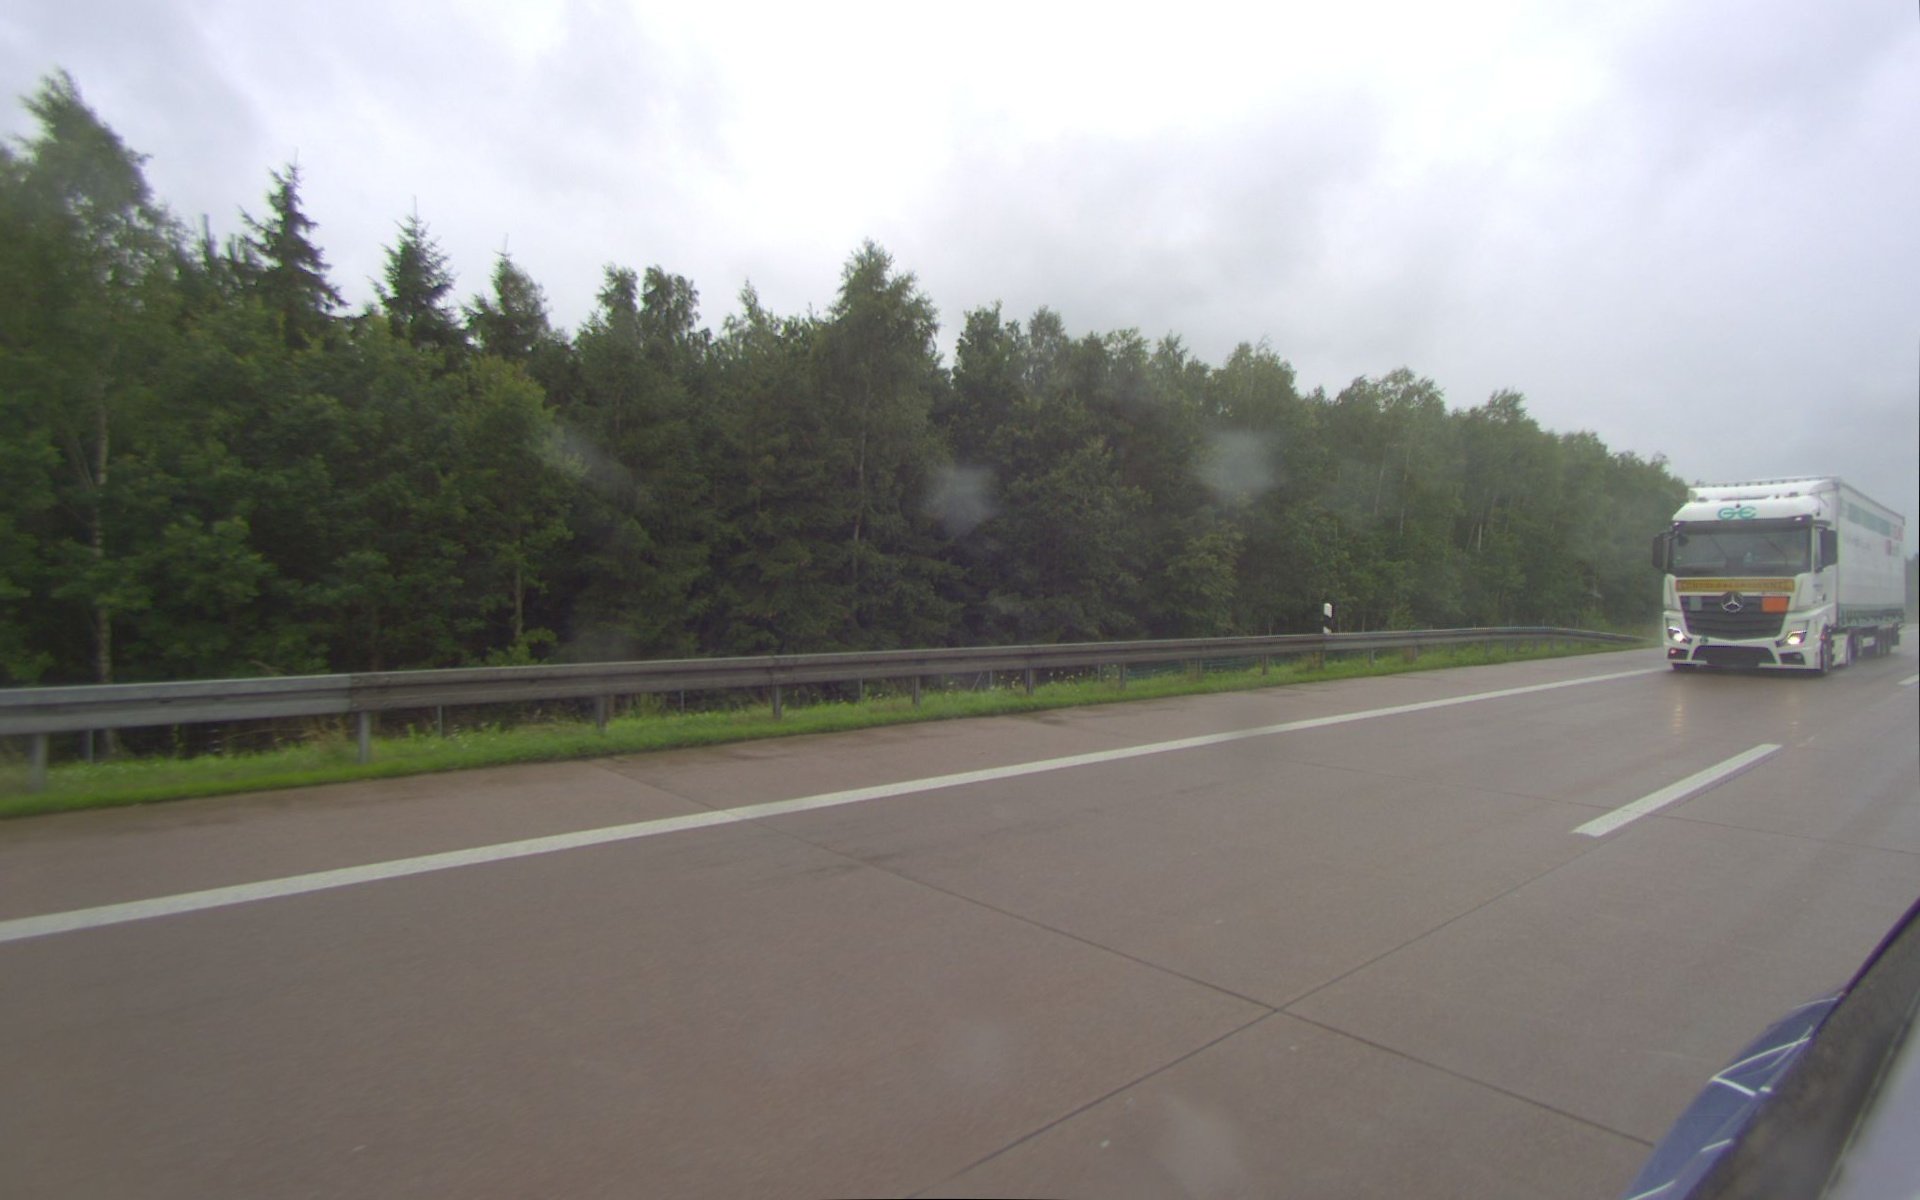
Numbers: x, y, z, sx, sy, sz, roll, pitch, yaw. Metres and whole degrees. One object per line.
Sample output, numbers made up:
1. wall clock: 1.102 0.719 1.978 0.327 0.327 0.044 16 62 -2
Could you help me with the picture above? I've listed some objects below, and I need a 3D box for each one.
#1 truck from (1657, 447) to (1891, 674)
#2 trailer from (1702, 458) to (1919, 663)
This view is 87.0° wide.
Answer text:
1. truck: 17.553 -0.736 21.677 6.241 4.158 2.885 1 1 -43
2. trailer: 22.900 -0.786 26.521 12.903 4.284 2.858 1 1 -42
